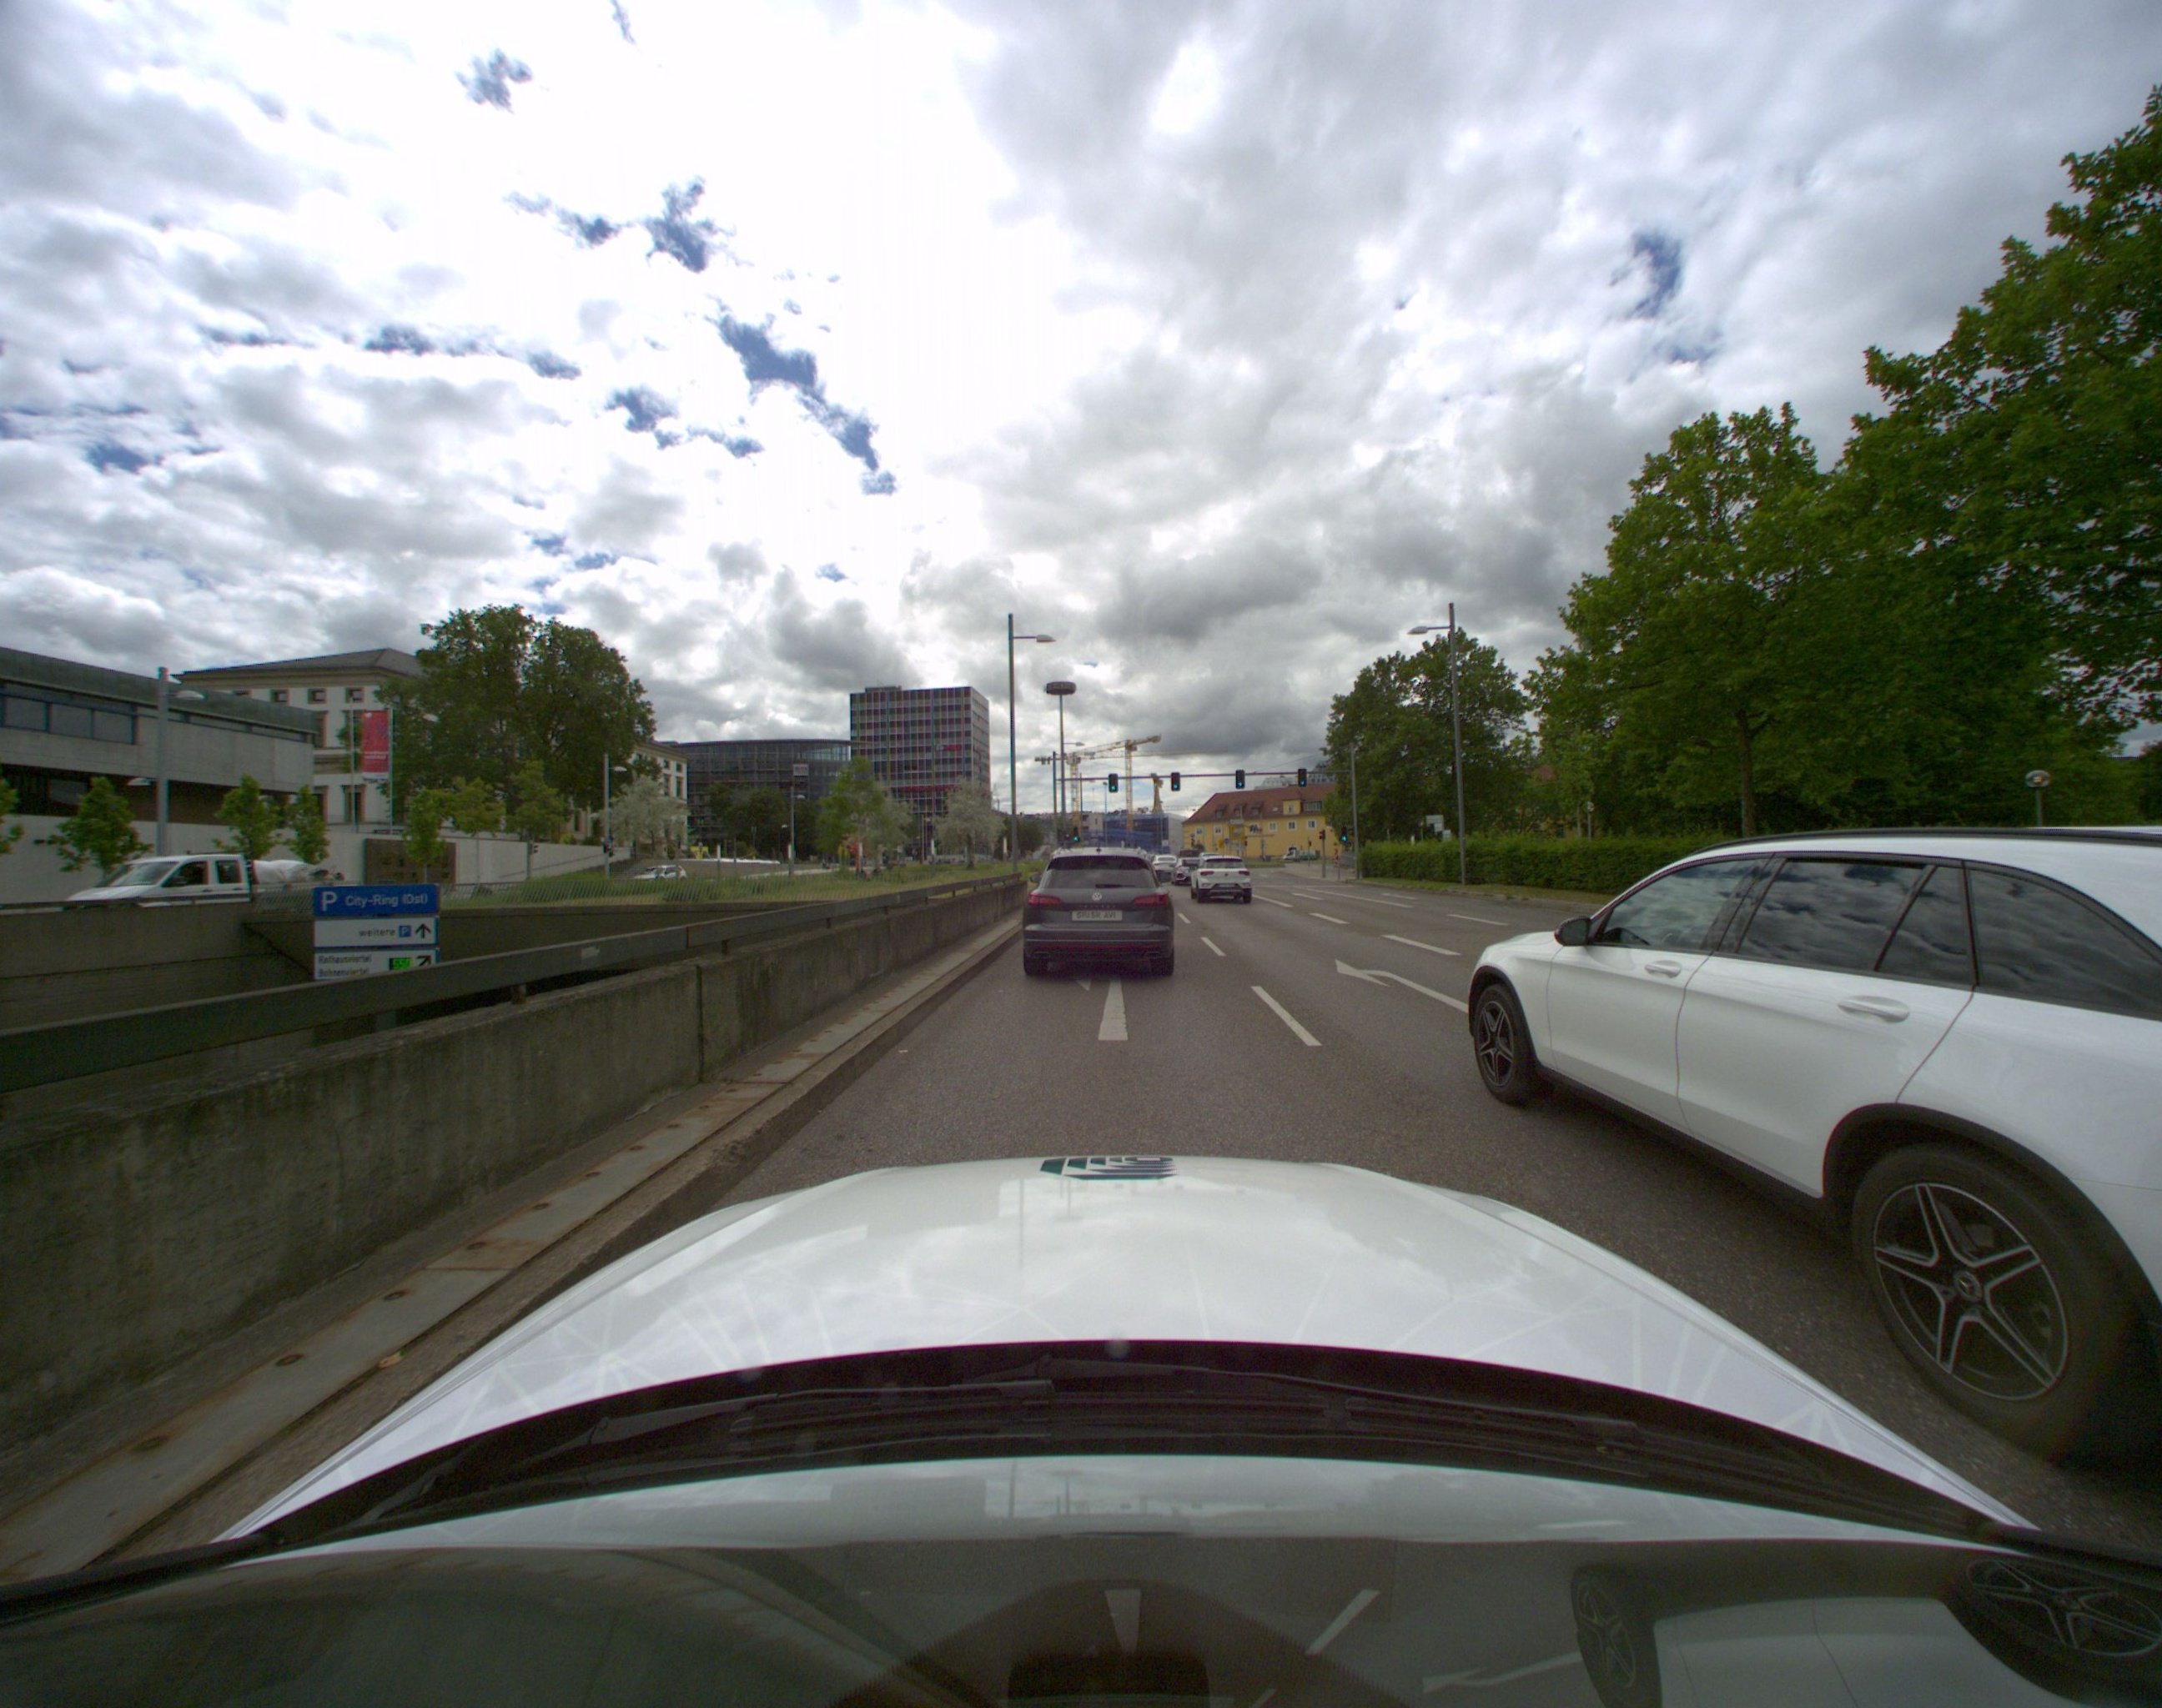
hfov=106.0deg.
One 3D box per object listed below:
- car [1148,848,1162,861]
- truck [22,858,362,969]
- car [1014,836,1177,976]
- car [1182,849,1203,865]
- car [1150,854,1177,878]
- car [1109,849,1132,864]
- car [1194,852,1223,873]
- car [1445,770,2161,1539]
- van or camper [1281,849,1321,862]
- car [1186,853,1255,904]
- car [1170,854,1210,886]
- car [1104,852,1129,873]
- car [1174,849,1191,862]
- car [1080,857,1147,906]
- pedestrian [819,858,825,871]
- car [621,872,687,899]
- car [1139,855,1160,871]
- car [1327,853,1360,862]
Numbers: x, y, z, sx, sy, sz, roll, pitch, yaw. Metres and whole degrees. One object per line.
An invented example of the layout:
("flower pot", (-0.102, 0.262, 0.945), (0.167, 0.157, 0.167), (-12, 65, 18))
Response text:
("car", (11.615, 0.124, 128.644), (1.985, 2.013, 4.003), (-1, 0, 2))
("truck", (-26.909, 1.613, 25.316), (2.453, 2.816, 7.086), (-1, 0, 4))
("car", (0.264, 0.617, 11.728), (1.925, 1.647, 4.003), (-1, 0, 2))
("car", (10.808, 0.273, 79.046), (1.711, 1.502, 3.985), (1, 0, 4))
("car", (5.625, 0.802, 55.395), (1.710, 1.502, 3.988), (-1, 0, 6))
("car", (4.088, 0.281, 85.141), (2.237, 1.502, 4.611), (-1, 0, 0))
("car", (9.563, 0.629, 61.128), (1.795, 1.502, 3.985), (-1, 0, 4))
("car", (3.332, 0.624, 3.510), (1.811, 1.647, 4.383), (-1, 0, 4))
("van or camper", (35.919, 0.270, 132.990), (5.947, 2.014, 2.032), (-1, -1, 38))
("car", (4.702, 0.773, 27.938), (1.886, 1.585, 3.803), (-1, 0, 3))
("car", (5.572, 0.787, 42.007), (1.711, 1.502, 4.148), (-1, 0, 4))
("car", (2.638, 0.595, 60.620), (1.807, 1.496, 3.909), (-1, 0, 2))
("car", (11.692, 0.139, 94.405), (1.711, 1.502, 3.985), (-1, 0, 4))
("car", (1.053, 0.833, 26.372), (1.985, 1.387, 4.003), (-1, 1, 2))
("pedestrian", (-32.579, 1.289, 102.554), (0.522, 1.649, 0.651), (0, -1, 1))
("car", (-28.429, 2.073, 54.400), (1.711, 1.574, 4.617), (-1, 1, 4))
("car", (7.321, 0.961, 87.231), (2.130, 1.728, 4.074), (-1, 0, 3))
("car", (41.550, 0.570, 128.813), (4.632, 1.420, 1.607), (-1, -1, 34))
